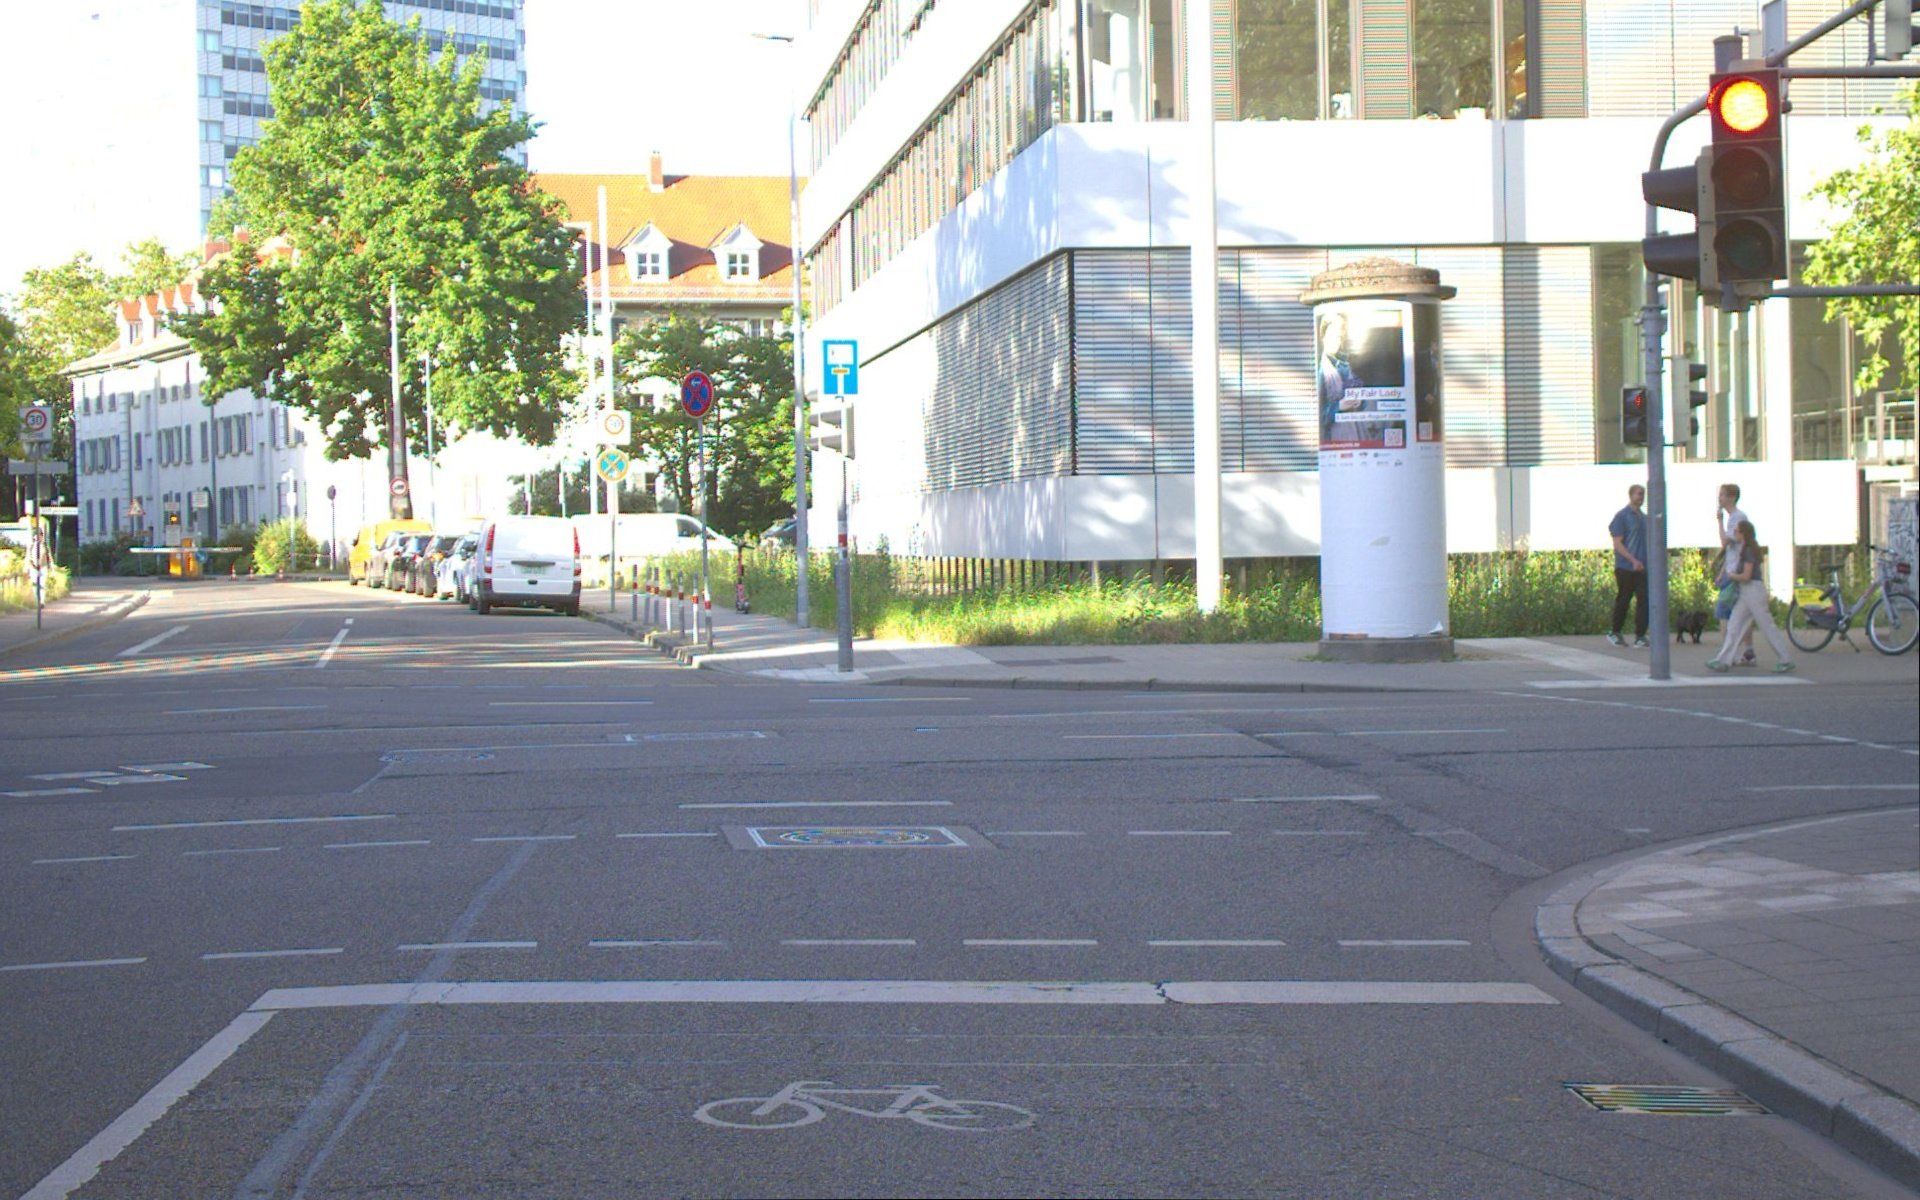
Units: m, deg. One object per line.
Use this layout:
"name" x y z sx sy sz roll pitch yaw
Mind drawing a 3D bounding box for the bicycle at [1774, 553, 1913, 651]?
"bicycle" 9.285 0.015 36.152 0.378 1.005 1.432 -2 2 -42

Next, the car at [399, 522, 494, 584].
"car" -12.875 -1.168 85.984 1.993 1.493 4.653 1 1 -13

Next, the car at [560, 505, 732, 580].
"car" -9.397 -1.709 102.936 4.791 2.151 2.001 1 0 -17

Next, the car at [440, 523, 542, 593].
"car" -10.501 -0.939 76.813 1.993 1.493 4.653 1 1 -11

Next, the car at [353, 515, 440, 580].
"car" -15.733 -1.456 95.840 1.993 1.719 4.653 1 1 -14

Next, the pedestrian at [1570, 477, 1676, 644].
"pedestrian" 7.272 -0.434 37.695 0.915 1.809 0.761 1 0 31

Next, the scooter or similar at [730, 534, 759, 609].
"scooter or similar" -3.657 -0.495 58.296 0.437 1.252 1.420 -1 1 -4

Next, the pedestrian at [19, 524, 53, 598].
"pedestrian" -20.004 -0.851 74.421 0.699 1.581 0.637 1 0 -16

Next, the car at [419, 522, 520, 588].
"car" -11.622 -1.064 81.260 1.993 1.493 4.288 1 1 -13

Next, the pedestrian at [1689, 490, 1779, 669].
"pedestrian" 7.857 -0.213 34.907 0.765 1.789 0.648 1 0 3

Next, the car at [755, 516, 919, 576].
"car" -3.749 -1.638 104.779 4.635 1.719 2.001 1 0 -16

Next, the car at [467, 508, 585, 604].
"car" -8.217 -0.819 64.827 1.993 1.719 4.653 1 1 -10

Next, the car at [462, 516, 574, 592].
"car" -9.168 -0.938 71.041 1.993 1.493 4.653 1 1 -11

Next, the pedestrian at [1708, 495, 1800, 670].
"pedestrian" 7.897 -0.178 34.221 0.765 1.713 0.648 1 0 3
